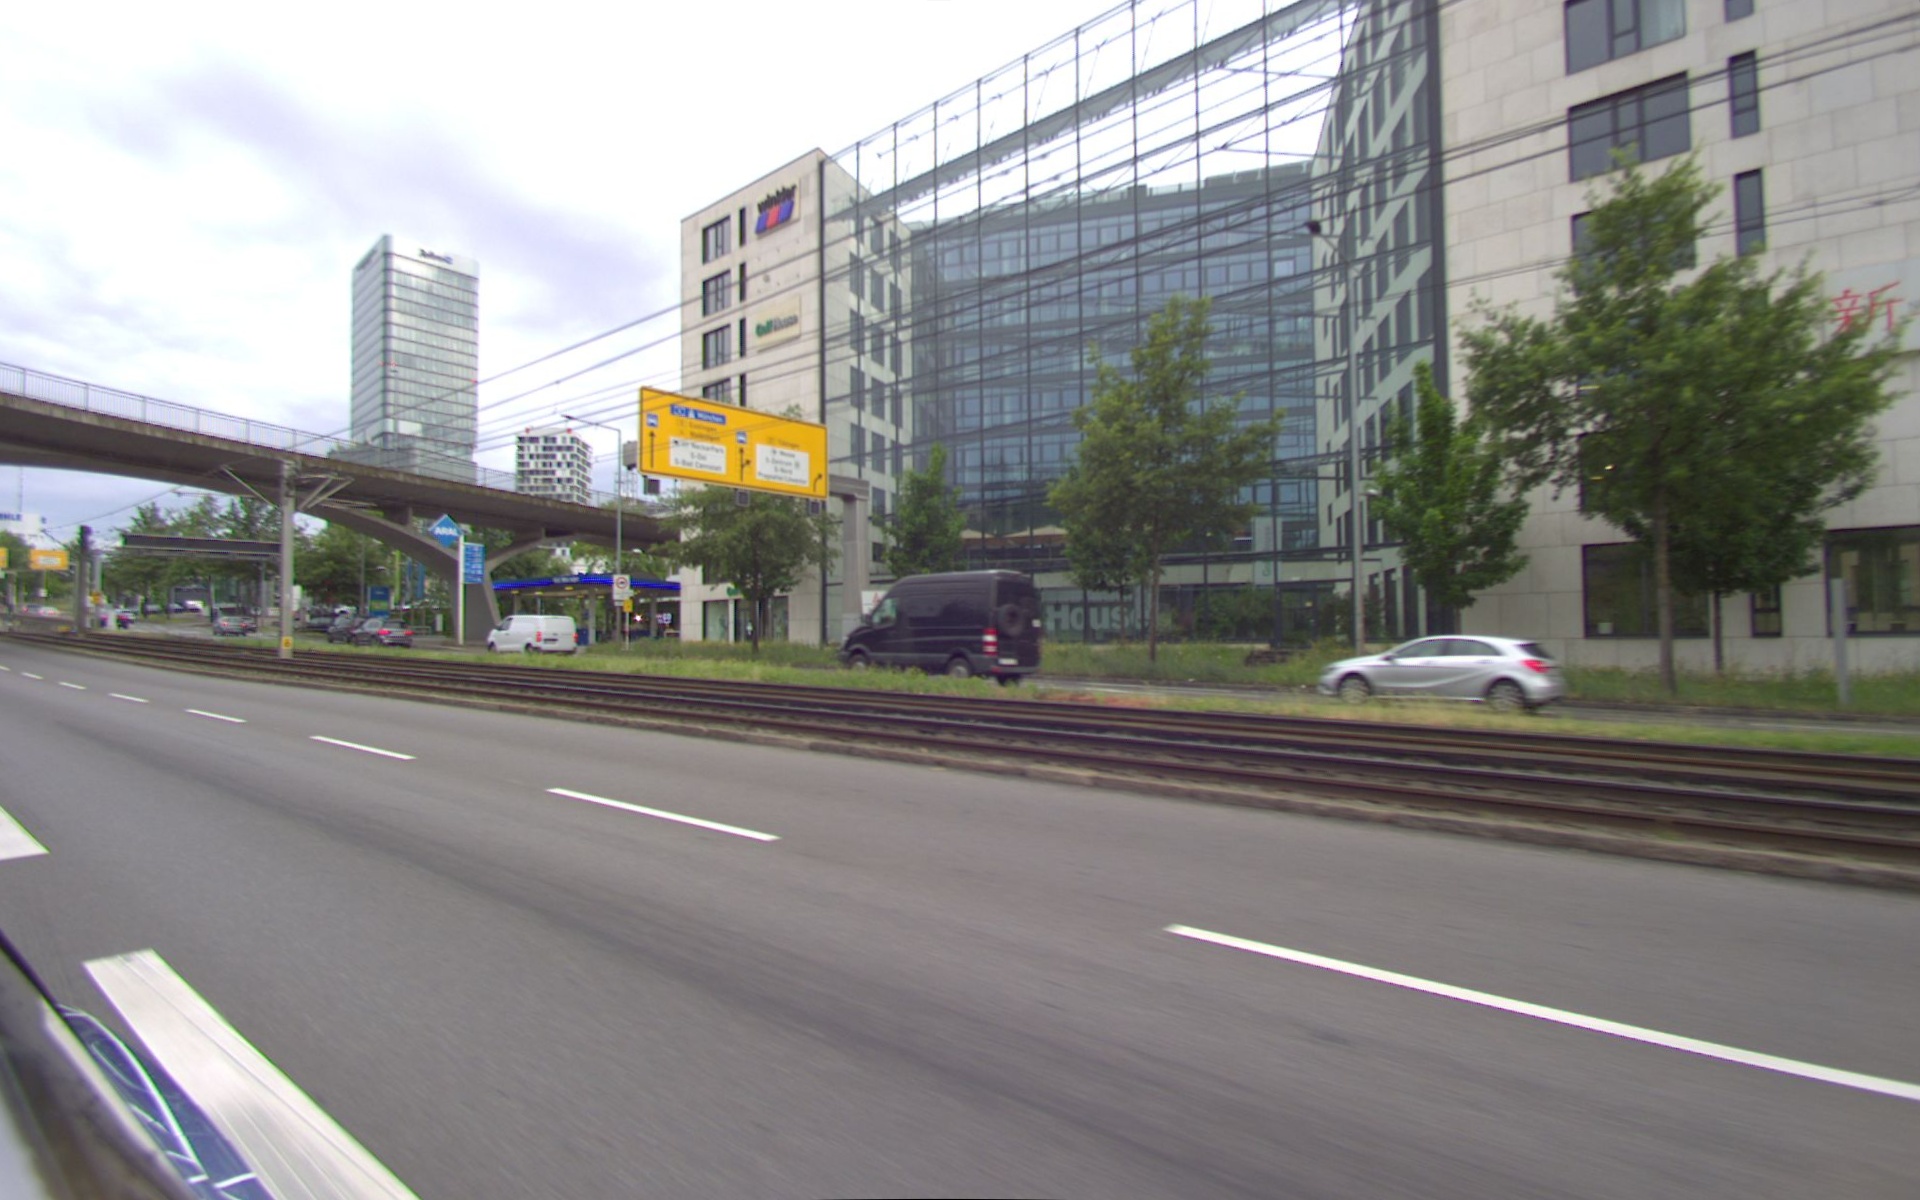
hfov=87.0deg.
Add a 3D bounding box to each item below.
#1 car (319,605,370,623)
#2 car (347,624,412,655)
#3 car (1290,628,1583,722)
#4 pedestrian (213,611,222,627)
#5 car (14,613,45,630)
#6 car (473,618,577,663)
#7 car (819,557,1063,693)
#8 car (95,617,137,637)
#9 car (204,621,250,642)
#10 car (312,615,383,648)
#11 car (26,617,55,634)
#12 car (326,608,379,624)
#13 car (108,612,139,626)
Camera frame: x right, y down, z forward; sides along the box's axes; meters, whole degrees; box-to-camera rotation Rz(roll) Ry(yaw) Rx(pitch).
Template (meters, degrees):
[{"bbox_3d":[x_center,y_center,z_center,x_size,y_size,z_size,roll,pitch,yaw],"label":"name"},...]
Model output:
[{"bbox_3d":[-62.576,1.409,102.974,1.886,1.785,4.140,1,1,43],"label":"car"},{"bbox_3d":[-31.701,2.118,55.218,4.489,1.618,1.791,-1,-1,42],"label":"car"},{"bbox_3d":[9.057,1.341,19.528,4.815,1.545,1.741,-1,-1,41],"label":"car"},{"bbox_3d":[-85.501,2.173,116.496,0.636,1.809,0.679,1,1,41],"label":"pedestrian"},{"bbox_3d":[-104.495,2.431,113.609,4.218,1.790,1.902,-2,-1,38],"label":"car"},{"bbox_3d":[-18.621,1.687,43.251,5.055,1.775,1.919,-1,-1,38],"label":"car"},{"bbox_3d":[-0.560,0.545,23.871,5.607,2.839,2.359,-1,0,40],"label":"car"},{"bbox_3d":[-71.008,2.256,85.139,4.864,1.545,1.792,-1,-1,39],"label":"car"},{"bbox_3d":[-55.726,2.398,76.898,4.271,1.545,1.792,-1,-1,40],"label":"car"},{"bbox_3d":[-39.634,2.022,65.433,5.121,1.967,2.041,-1,-1,35],"label":"car"},{"bbox_3d":[-94.495,2.604,104.007,4.790,1.610,1.745,-1,-1,42],"label":"car"},{"bbox_3d":[-60.957,1.602,101.581,1.886,1.515,4.305,1,1,43],"label":"car"},{"bbox_3d":[-91.838,2.101,111.144,4.655,1.509,1.900,-1,-5,42],"label":"car"}]
